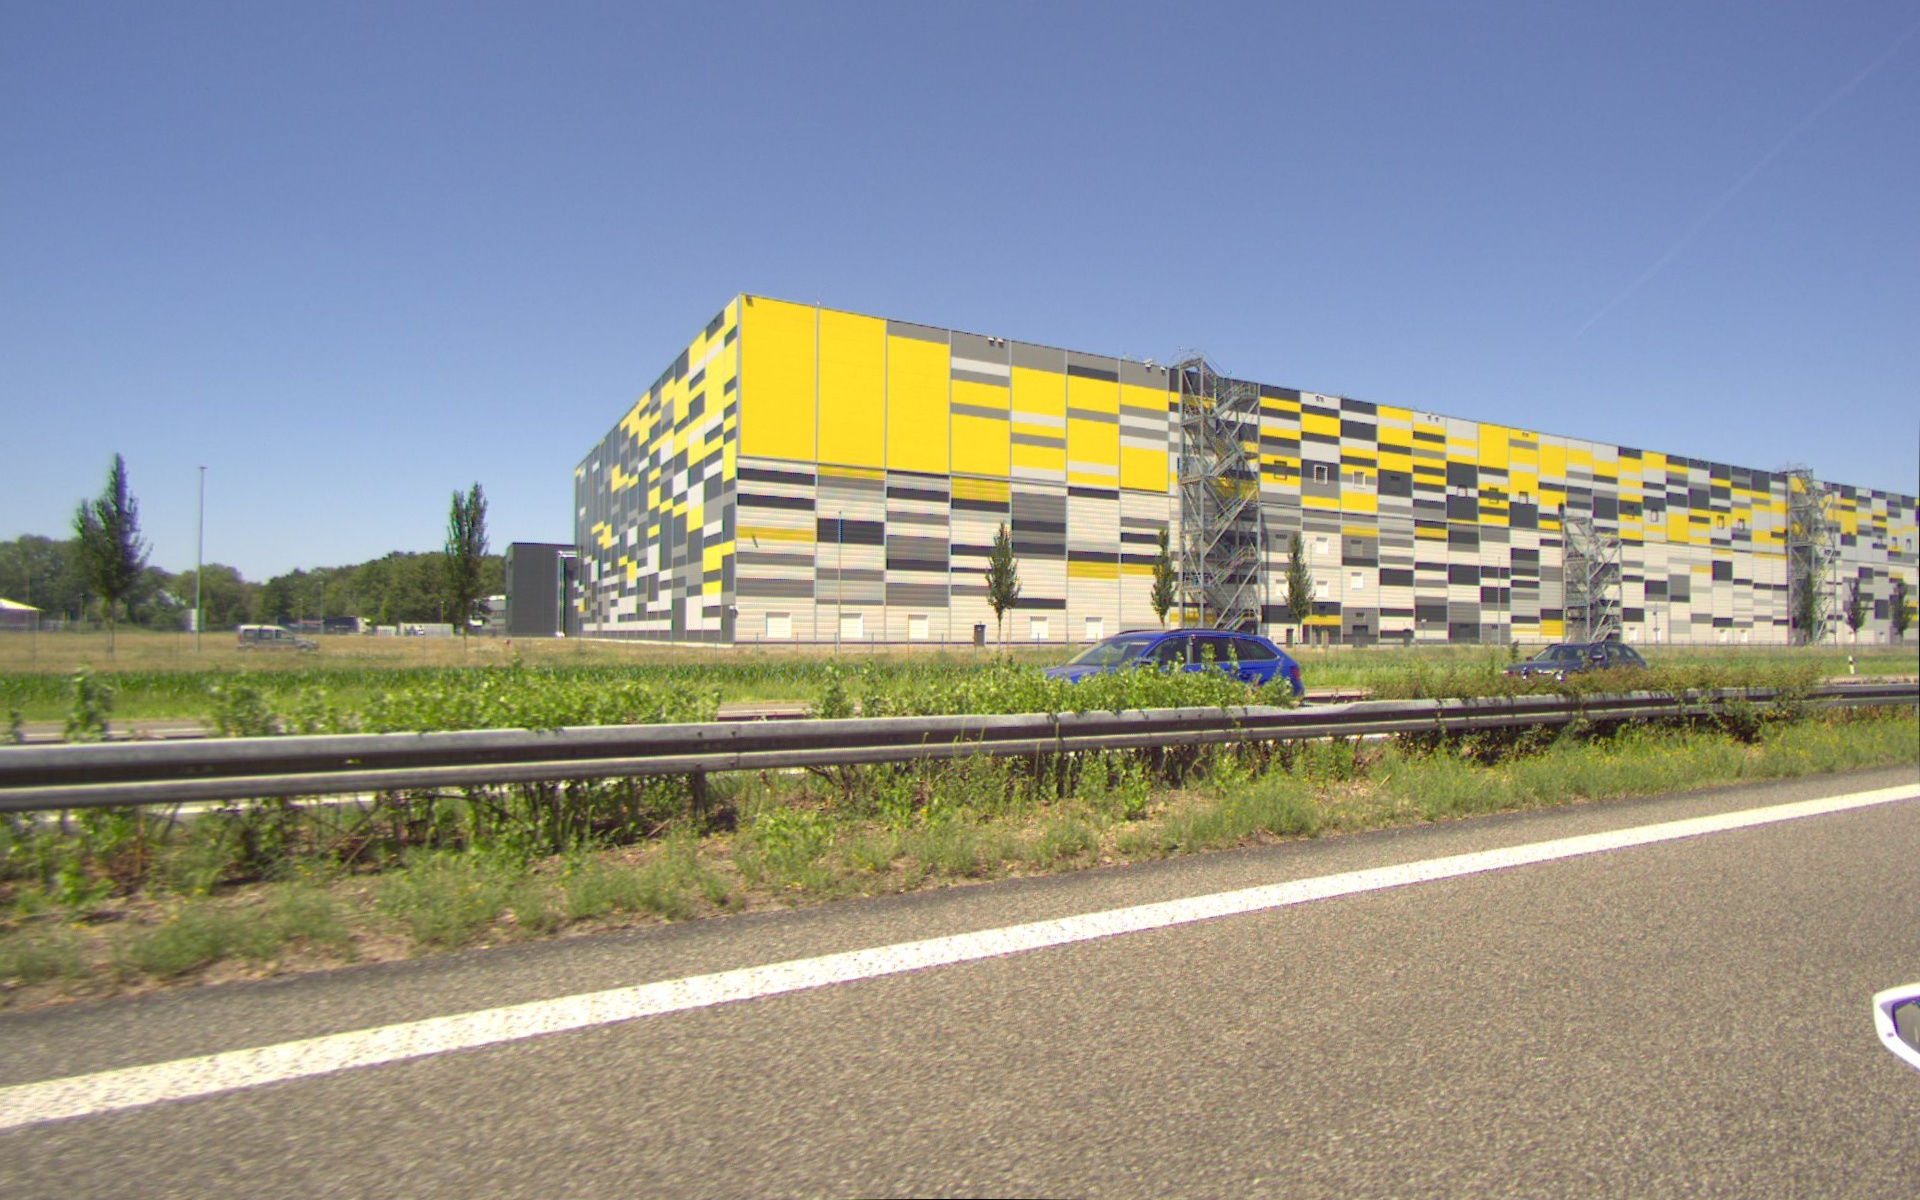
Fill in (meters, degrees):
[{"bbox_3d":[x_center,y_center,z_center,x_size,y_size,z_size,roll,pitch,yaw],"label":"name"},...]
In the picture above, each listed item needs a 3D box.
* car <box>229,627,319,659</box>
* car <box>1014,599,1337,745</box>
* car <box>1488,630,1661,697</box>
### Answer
[{"bbox_3d":[-39.119,2.472,57.407,4.064,1.750,1.676,2,-2,-30],"label":"car"},{"bbox_3d":[3.139,0.968,14.425,4.429,1.812,1.903,1,-2,-30],"label":"car"},{"bbox_3d":[16.398,1.677,26.738,4.779,1.633,1.843,1,-4,-30],"label":"car"}]
